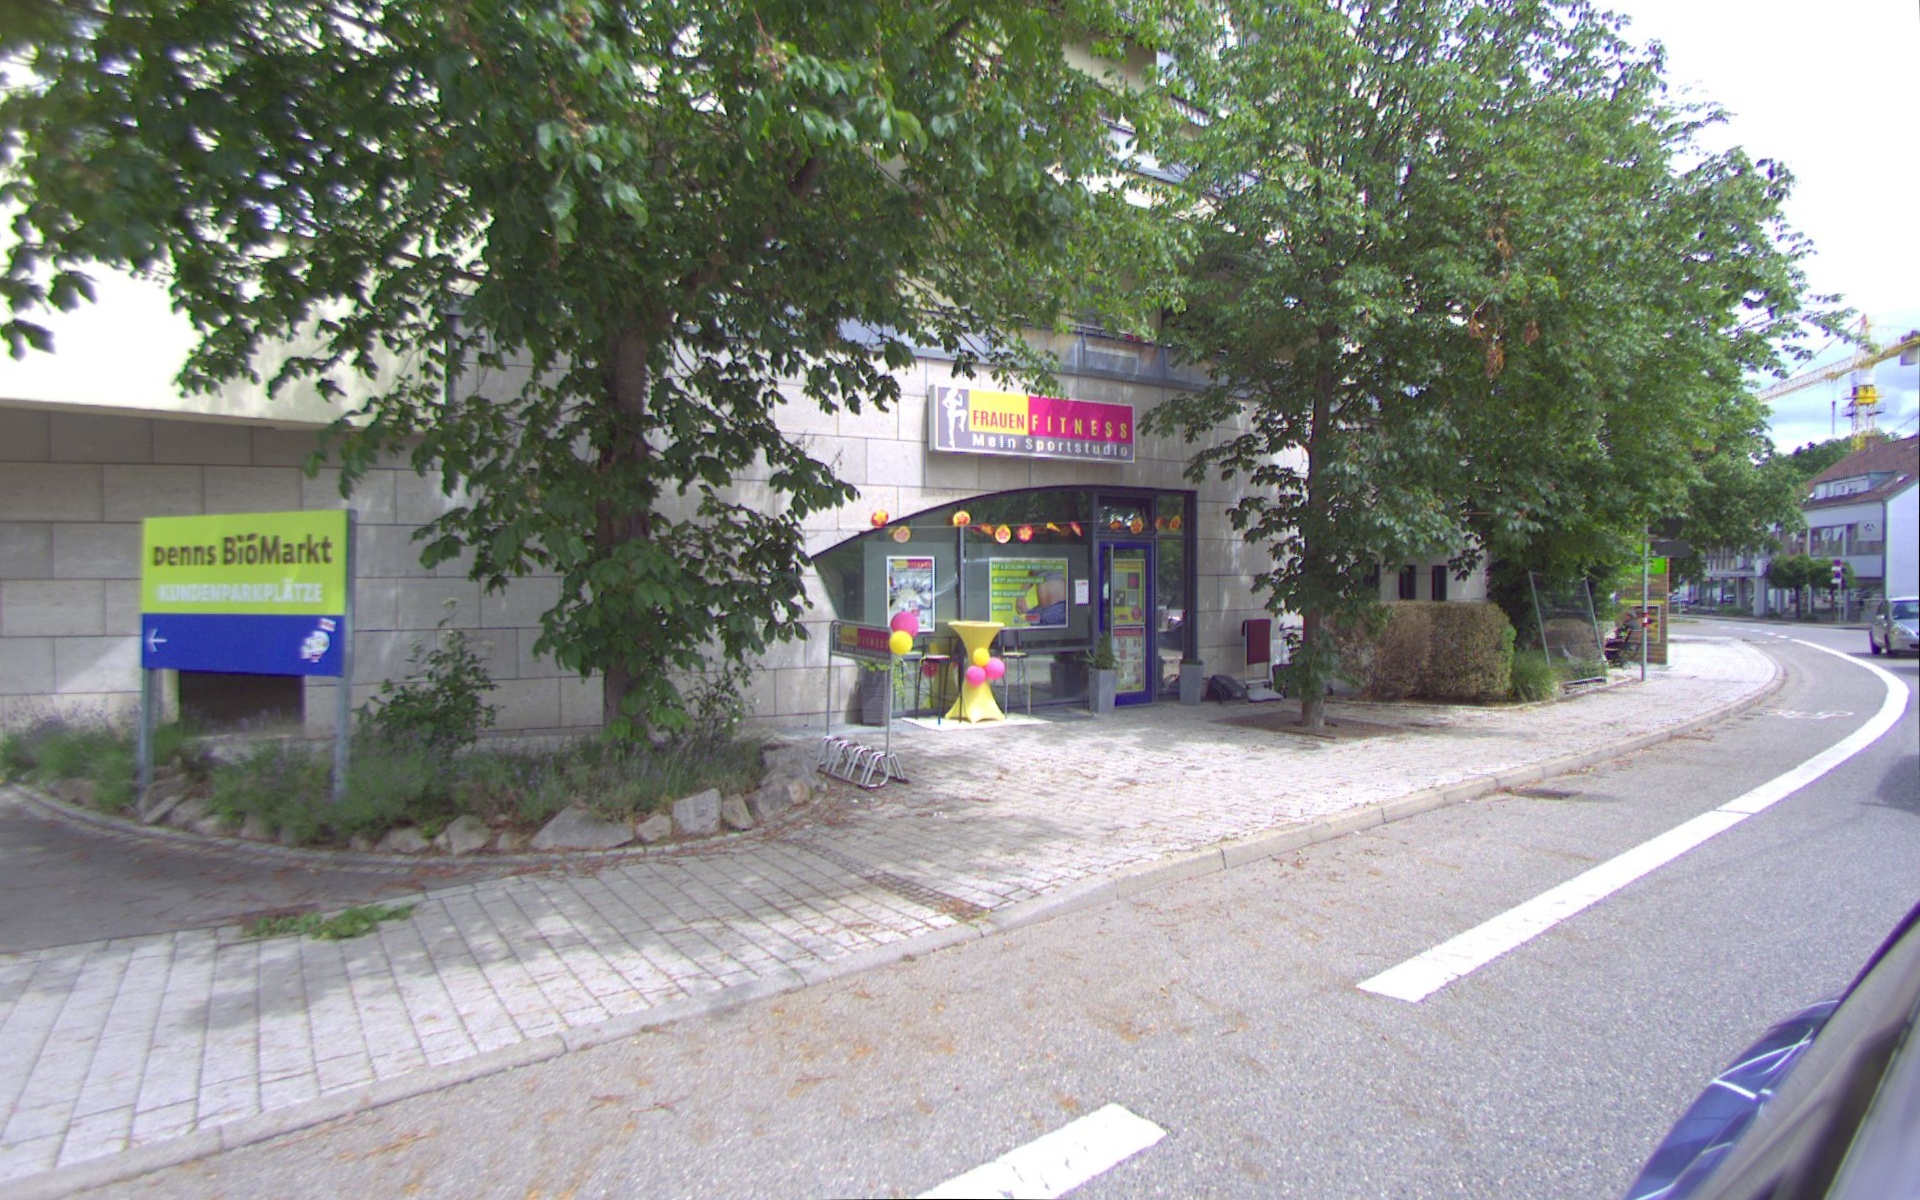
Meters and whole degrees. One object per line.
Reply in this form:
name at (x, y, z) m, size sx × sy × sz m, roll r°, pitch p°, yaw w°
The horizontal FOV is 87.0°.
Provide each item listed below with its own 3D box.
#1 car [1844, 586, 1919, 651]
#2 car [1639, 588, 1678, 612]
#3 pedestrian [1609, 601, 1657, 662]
car at (24.322, 0.424, 25.714) m, size 1.676 × 1.505 × 3.966 m, roll -2°, pitch 0°, yaw 25°
car at (56.944, -0.028, 82.537) m, size 1.720 × 1.874 × 3.972 m, roll 0°, pitch 1°, yaw 21°
pedestrian at (14.919, 0.685, 22.443) m, size 0.741 × 1.317 × 0.730 m, roll 0°, pitch 1°, yaw -43°
